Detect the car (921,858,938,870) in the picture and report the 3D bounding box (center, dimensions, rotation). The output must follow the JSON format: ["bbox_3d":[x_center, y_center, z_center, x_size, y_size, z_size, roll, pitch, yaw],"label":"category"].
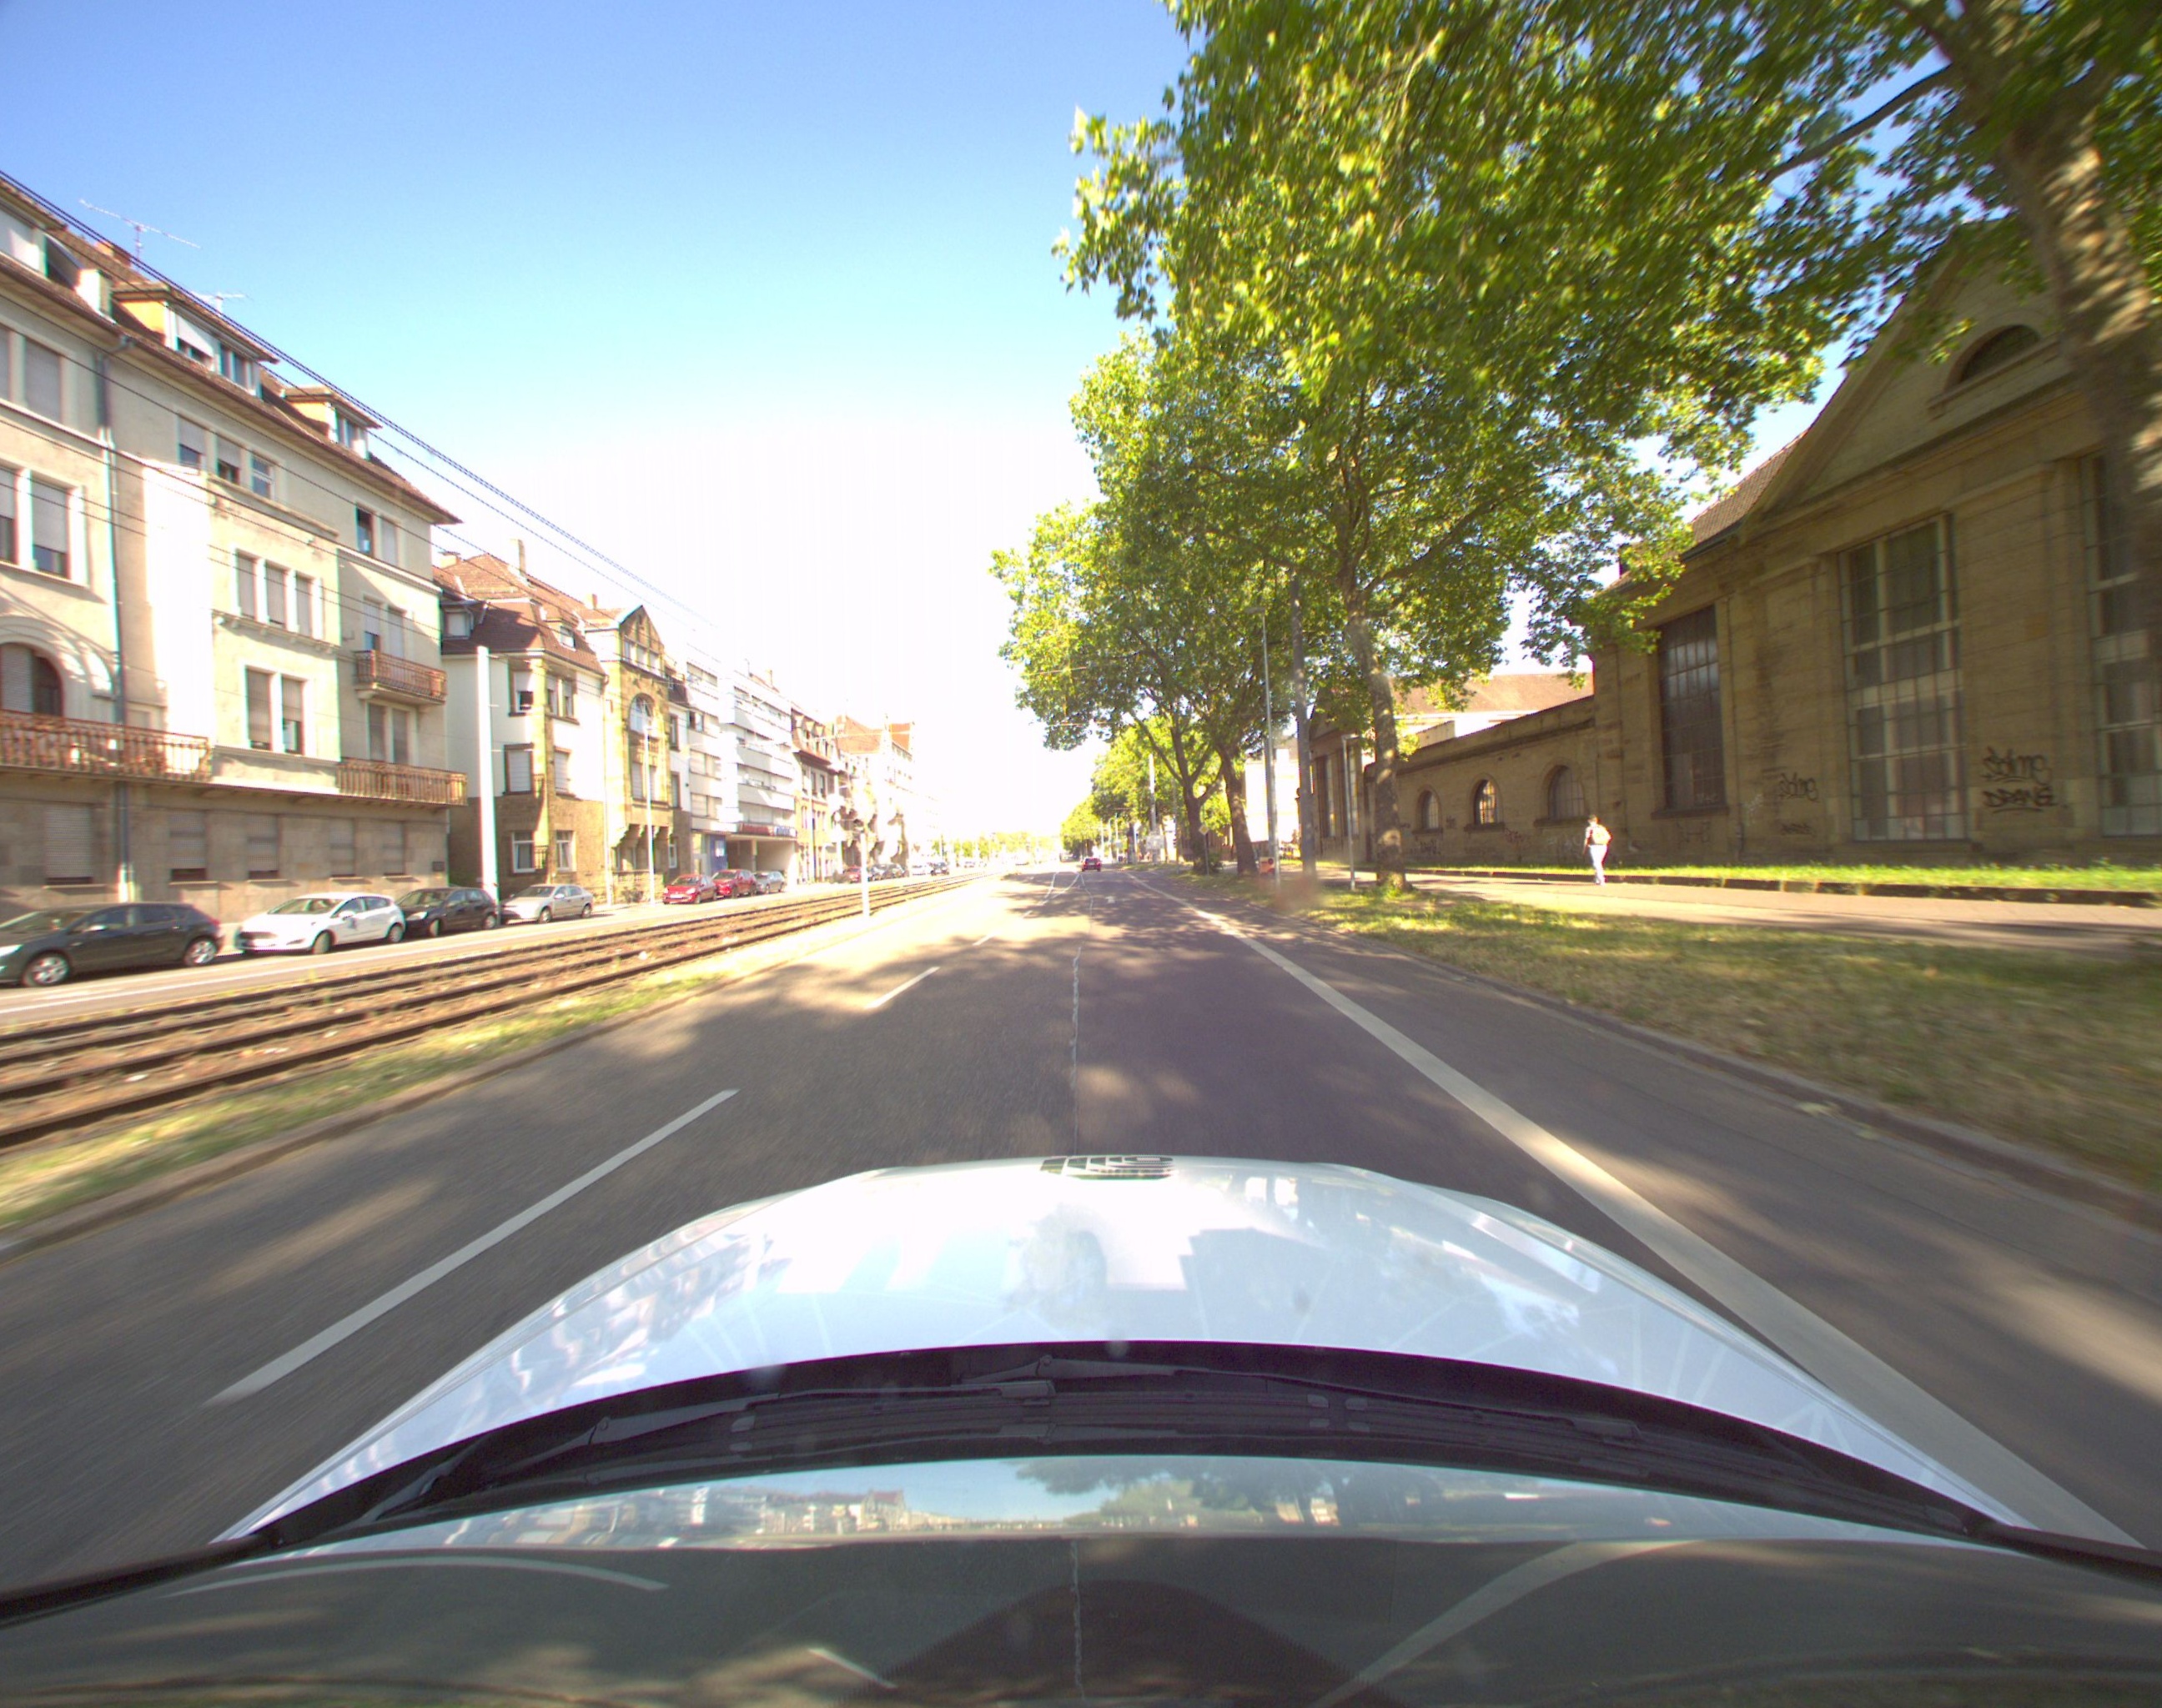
[{"bbox_3d":[-22.319,1.531,120.247,1.790,1.719,4.181,0,0,-2],"label":"car"}]

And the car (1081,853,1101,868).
[{"bbox_3d":[0.988,0.640,83.298,1.828,1.391,4.156,-3,0,-2],"label":"car"}]

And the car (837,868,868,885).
[{"bbox_3d":[-21.211,2.045,75.583,1.789,1.460,4.263,0,0,-2],"label":"car"}]

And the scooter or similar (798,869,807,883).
[{"bbox_3d":[-24.398,1.946,71.447,0.390,1.205,1.200,0,0,0],"label":"scooter or similar"}]

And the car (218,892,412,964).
[{"bbox_3d":[-19.708,1.831,21.206,1.634,1.469,3.971,-3,0,-8],"label":"car"}]

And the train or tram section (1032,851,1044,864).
[{"bbox_3d":[-12.047,0.927,228.626,2.822,3.450,9.044,-3,0,-6],"label":"train or tram section"}]

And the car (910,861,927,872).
[{"bbox_3d":[-21.739,1.663,109.076,1.792,1.510,3.992,0,0,-6],"label":"car"}]

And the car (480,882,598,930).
[{"bbox_3d":[-20.301,1.905,30.731,1.630,1.469,4.158,-2,1,-1],"label":"car"}]

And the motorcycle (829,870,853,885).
[{"bbox_3d":[-21.322,2.099,72.343,2.073,1.327,0.836,0,0,-17],"label":"motorcycle"}]

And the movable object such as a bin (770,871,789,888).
[{"bbox_3d":[-25.847,2.161,69.786,1.410,1.371,0.633,-2,0,-8],"label":"movable object such as a bin"}]

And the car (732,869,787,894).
[{"bbox_3d":[-20.878,1.777,53.089,1.828,1.391,4.679,-3,0,-2],"label":"car"}]

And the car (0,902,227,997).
[{"bbox_3d":[-20.094,1.811,16.308,1.631,1.469,4.156,0,0,-2],"label":"car"}]

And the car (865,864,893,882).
[{"bbox_3d":[-21.401,1.969,86.438,1.787,1.754,4.457,0,0,2],"label":"car"}]

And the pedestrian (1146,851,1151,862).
[{"bbox_3d":[10.951,0.370,131.763,0.584,1.728,0.652,-1,0,13],"label":"pedestrian"}]

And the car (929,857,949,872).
[{"bbox_3d":[-16.461,1.229,94.489,1.632,1.601,4.154,-4,0,-3],"label":"car"}]

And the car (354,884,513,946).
[{"bbox_3d":[-20.186,1.843,25.648,1.631,1.468,4.156,-4,1,-2],"label":"car"}]

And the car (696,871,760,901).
[{"bbox_3d":[-20.610,1.844,47.767,1.827,1.558,4.352,-2,0,0],"label":"car"}]

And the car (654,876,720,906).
[{"bbox_3d":[-20.502,1.893,42.533,1.831,1.391,4.027,0,0,-6],"label":"car"}]

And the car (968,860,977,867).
[{"bbox_3d":[-24.826,2.202,186.362,1.790,1.510,3.995,-3,0,-3],"label":"car"}]

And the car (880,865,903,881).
[{"bbox_3d":[-21.323,2.114,91.658,1.682,1.652,4.197,0,0,-1],"label":"car"}]

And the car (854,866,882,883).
[{"bbox_3d":[-21.138,2.028,80.842,1.789,1.510,3.998,0,0,-1],"label":"car"}]

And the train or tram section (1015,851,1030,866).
[{"bbox_3d":[-14.129,1.037,196.944,2.817,3.450,9.060,-3,0,-1],"label":"train or tram section"}]

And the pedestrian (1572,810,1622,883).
[{"bbox_3d":[12.517,-0.183,19.774,0.607,1.681,0.635,-7,0,-3],"label":"pedestrian"}]
